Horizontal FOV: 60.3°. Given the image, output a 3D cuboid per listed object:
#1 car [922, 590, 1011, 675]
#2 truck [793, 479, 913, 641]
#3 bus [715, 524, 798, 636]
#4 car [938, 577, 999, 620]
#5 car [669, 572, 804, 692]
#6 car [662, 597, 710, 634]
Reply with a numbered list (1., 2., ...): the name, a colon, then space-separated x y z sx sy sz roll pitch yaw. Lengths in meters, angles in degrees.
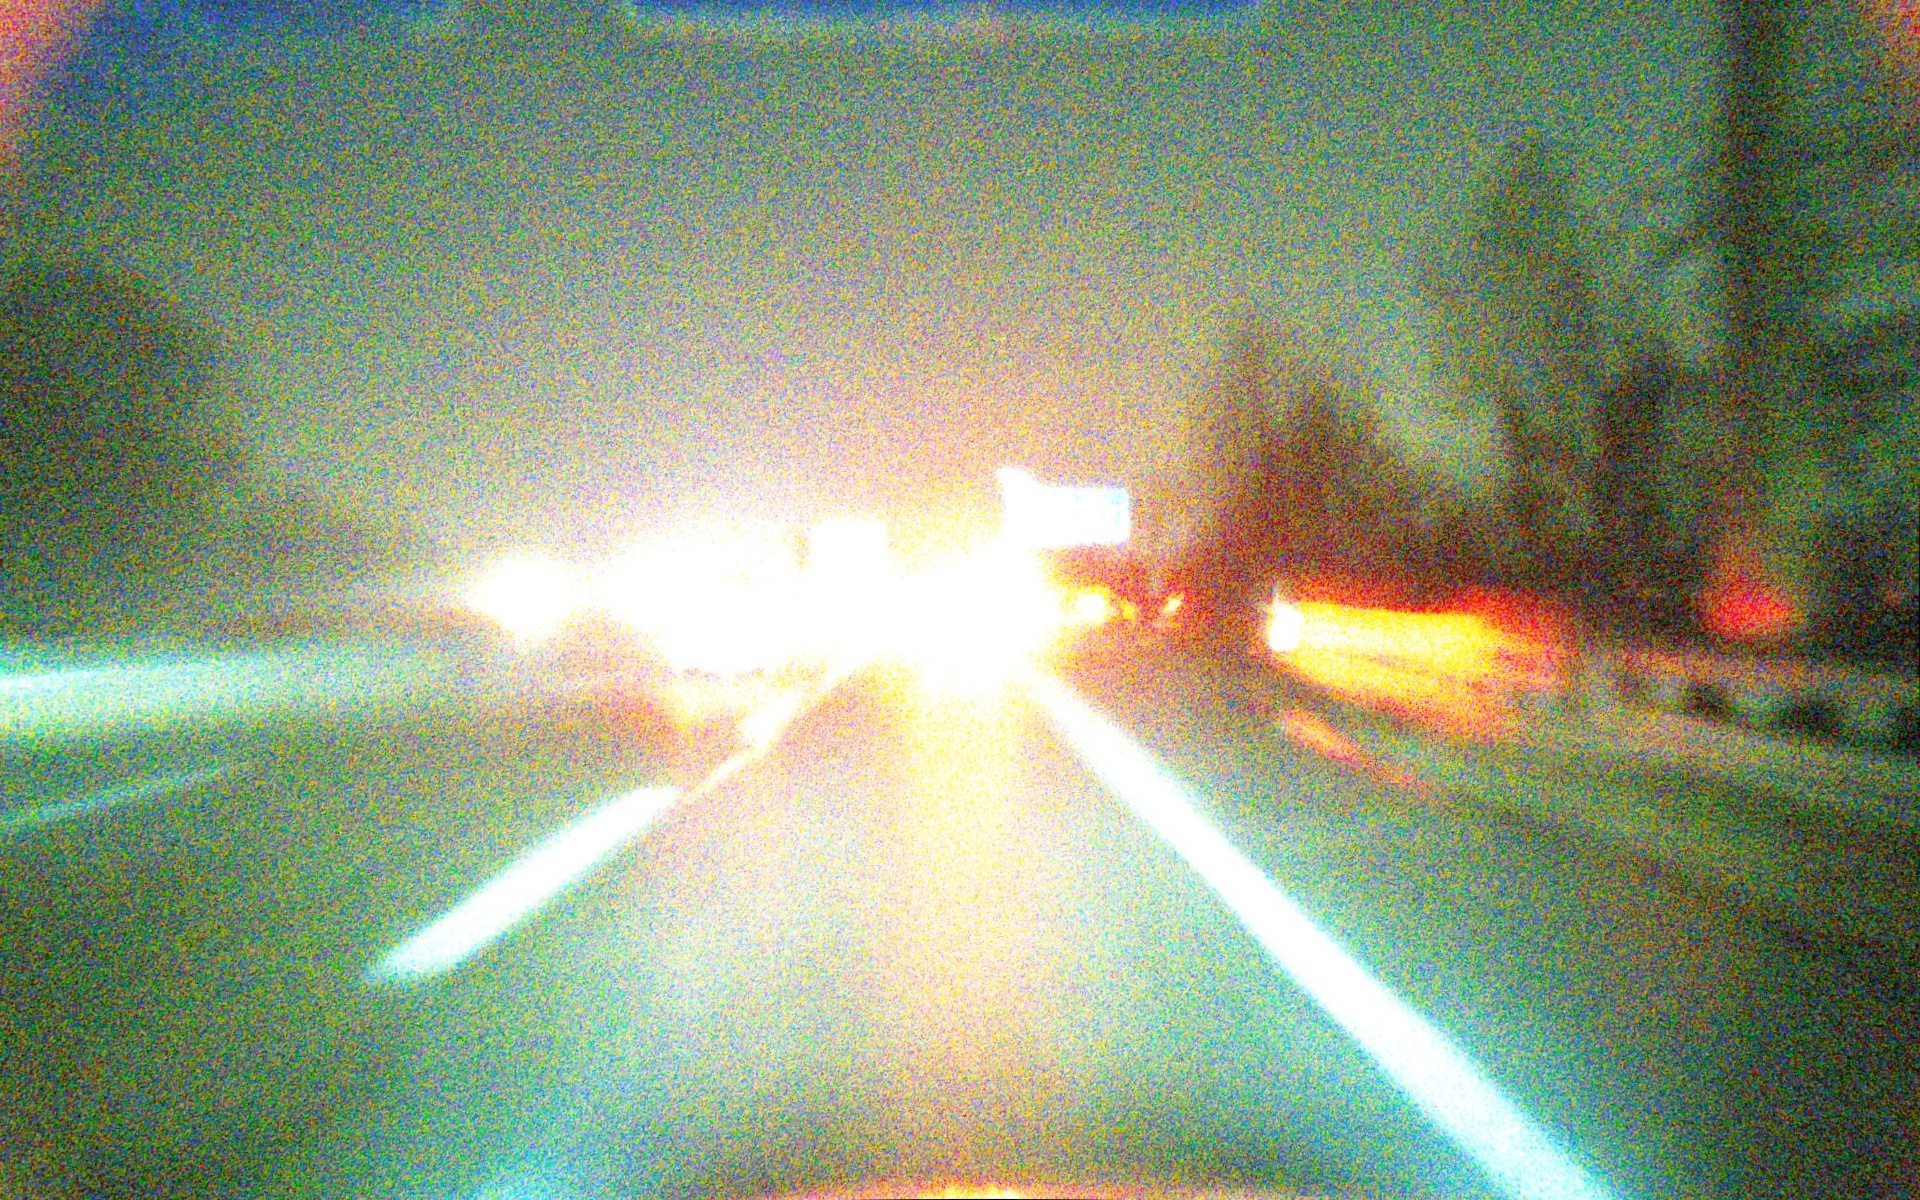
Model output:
1. car: 0.127 0.732 38.794 1.953 1.839 3.999 1 0 -1
2. truck: -4.020 -1.421 65.387 4.125 5.747 11.464 1 0 -1
3. bus: -9.007 -0.821 74.332 3.036 4.587 10.904 1 0 -4
4. car: 0.343 -0.075 73.966 1.958 1.839 3.989 1 0 -11
5. car: -4.101 0.558 31.070 2.083 2.049 4.643 1 0 -3
6. car: -12.377 0.680 74.920 1.956 1.624 3.994 1 0 -7
